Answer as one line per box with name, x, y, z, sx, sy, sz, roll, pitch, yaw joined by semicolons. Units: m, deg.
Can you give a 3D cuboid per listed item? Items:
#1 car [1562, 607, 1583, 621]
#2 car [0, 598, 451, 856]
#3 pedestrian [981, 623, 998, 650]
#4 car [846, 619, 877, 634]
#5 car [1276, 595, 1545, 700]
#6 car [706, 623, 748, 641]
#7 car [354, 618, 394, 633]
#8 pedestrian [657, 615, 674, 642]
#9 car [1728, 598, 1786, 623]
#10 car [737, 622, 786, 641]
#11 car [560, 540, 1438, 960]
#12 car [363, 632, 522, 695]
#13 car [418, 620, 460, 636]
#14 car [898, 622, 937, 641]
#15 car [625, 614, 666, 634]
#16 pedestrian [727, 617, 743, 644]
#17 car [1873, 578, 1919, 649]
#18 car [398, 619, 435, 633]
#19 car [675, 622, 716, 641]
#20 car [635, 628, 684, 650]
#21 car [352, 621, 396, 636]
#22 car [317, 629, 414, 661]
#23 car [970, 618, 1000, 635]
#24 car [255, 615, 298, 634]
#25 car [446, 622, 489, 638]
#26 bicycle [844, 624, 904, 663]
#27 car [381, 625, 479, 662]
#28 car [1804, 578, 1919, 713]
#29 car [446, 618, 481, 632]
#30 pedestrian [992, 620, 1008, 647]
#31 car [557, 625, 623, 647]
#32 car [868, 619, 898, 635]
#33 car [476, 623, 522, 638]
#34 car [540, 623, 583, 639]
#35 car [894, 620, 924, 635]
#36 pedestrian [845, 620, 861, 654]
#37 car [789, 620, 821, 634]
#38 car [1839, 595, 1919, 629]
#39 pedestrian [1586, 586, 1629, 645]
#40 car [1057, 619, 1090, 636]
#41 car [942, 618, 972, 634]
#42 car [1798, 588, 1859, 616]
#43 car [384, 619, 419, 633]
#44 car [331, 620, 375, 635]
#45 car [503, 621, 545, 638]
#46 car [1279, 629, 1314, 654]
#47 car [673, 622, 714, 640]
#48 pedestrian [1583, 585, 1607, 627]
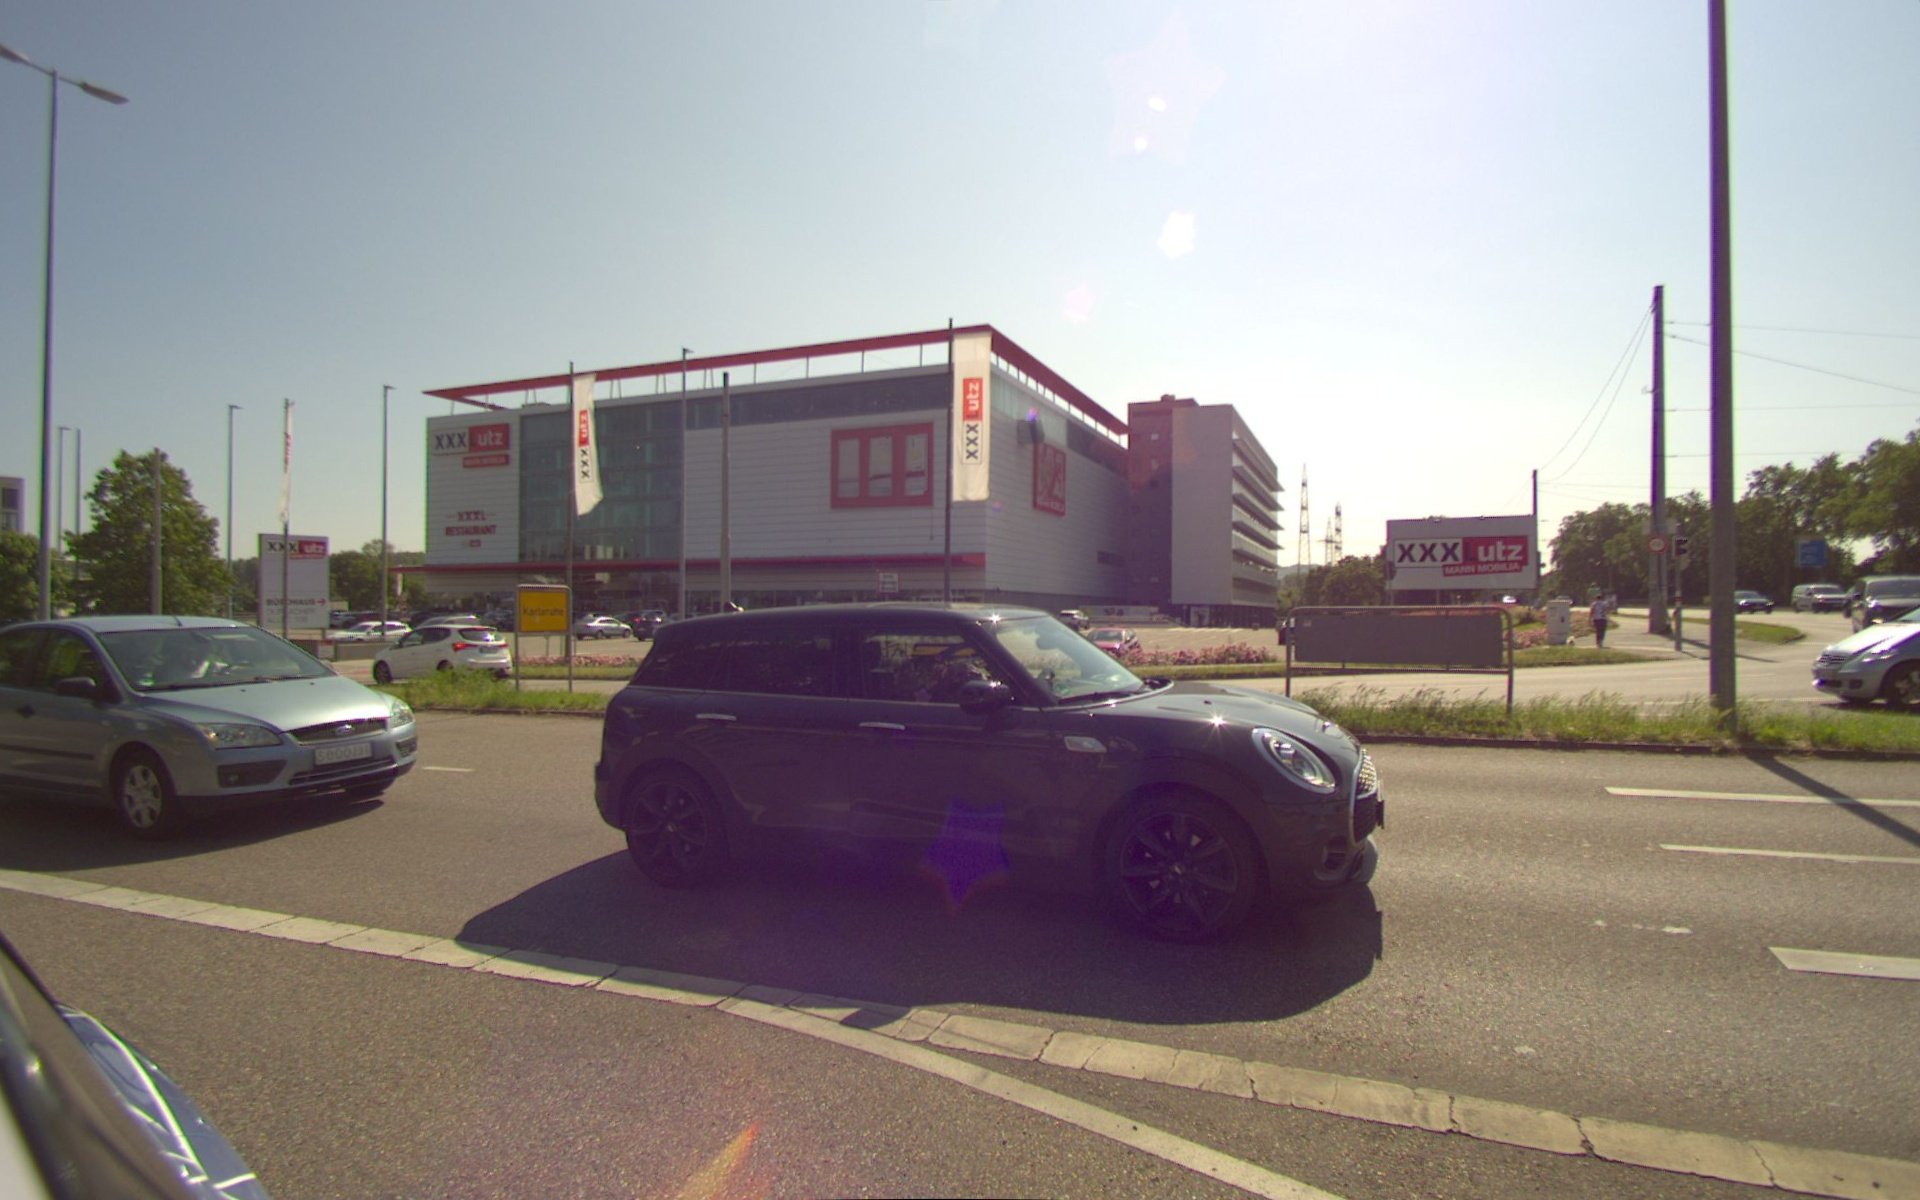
car;77.447;1.795;127.965;1.621;1.637;3.759;-1;-1;21
car;-6.159;0.844;7.809;4.145;1.585;1.699;-2;-1;22
pedestrian;2.209;2.752;76.770;0.970;2.029;0.941;-2;-2;24
car;-8.684;2.317;89.202;1.505;1.340;3.075;0;-1;22
car;4.743;0.503;10.817;2.478;1.012;1.111;-2;-2;25
car;-17.543;2.393;76.297;1.576;1.340;3.394;-1;-1;18
car;-57.223;2.476;98.900;1.505;1.395;3.075;0;-1;22
pedestrian;-22.380;2.159;76.883;1.020;2.029;0.853;-3;-4;37
car;51.439;0.686;65.398;1.896;1.584;3.808;0;-1;22
car;-14.868;2.350;76.027;1.505;1.340;4.283;0;-1;22
car;0.138;0.599;5.316;4.174;1.523;1.729;-2;-1;24
car;-13.870;1.644;27.104;4.066;1.558;1.783;-1;-1;27
car;-45.756;2.467;88.979;1.505;1.340;3.075;0;-1;22
car;-3.064;2.272;73.963;1.767;1.340;3.075;0;-1;22
car;-27.019;2.064;87.046;1.649;1.642;3.551;-1;-1;18
pedestrian;-15.640;2.097;70.259;0.747;1.872;0.849;-2;-3;23
car;28.103;0.348;29.623;1.817;1.940;3.942;-3;-1;44
car;-51.921;2.493;96.719;1.210;1.340;3.075;0;-1;22
car;-20.197;2.404;77.270;1.505;1.340;3.075;0;-1;22
car;-19.370;2.472;65.313;1.505;1.340;3.075;0;-1;22
car;-53.583;2.561;92.575;1.505;1.340;3.201;0;-1;22
car;-32.407;2.432;55.334;1.858;1.640;4.396;0;-1;21
car;2.107;2.187;84.425;1.505;1.340;3.075;0;-1;22
car;-65.573;2.323;97.117;1.681;1.771;3.075;0;-1;22
car;-42.903;2.563;88.190;1.692;1.340;3.075;0;-1;22
bicycle;-2.334;1.175;27.520;1.631;1.030;0.329;1;-2;20
car;-27.776;2.225;53.182;1.933;1.856;4.393;0;-1;22
car;13.209;0.511;12.496;3.892;1.637;1.619;-3;-2;24
car;-51.505;2.596;105.028;1.505;1.340;3.075;0;-1;22
pedestrian;3.060;2.564;77.976;0.970;2.029;0.941;-2;-3;24
car;-24.482;2.338;67.158;1.505;1.340;4.470;0;-1;22
car;-6.635;2.317;87.649;1.357;1.276;3.075;0;-1;22
car;-38.698;2.548;85.069;1.470;1.208;3.484;0;-1;22
car;-32.210;2.494;81.902;1.505;1.303;3.074;0;-1;22
car;-4.347;2.359;86.214;1.432;1.234;3.075;0;-1;22
pedestrian;-6.083;2.080;57.461;0.771;1.909;0.500;1;-3;-37
car;-13.790;2.391;90.268;1.505;1.234;3.075;0;-1;22
car;44.046;0.594;48.396;1.750;1.532;3.971;-2;-2;22
pedestrian;19.378;0.479;30.300;0.892;1.720;0.843;2;-3;-44
car;9.101;2.192;81.119;1.740;1.340;3.647;0;-1;22
car;-0.243;2.227;86.263;1.505;1.340;3.075;0;-1;22
car;53.939;0.150;62.943;1.621;1.637;3.759;-1;-1;21
car;-54.121;2.503;98.049;1.287;1.340;2.803;0;-1;22
car;-55.728;2.528;92.917;1.505;1.340;3.201;0;-1;22
car;-36.136;2.433;83.936;1.505;1.340;3.075;0;-1;22
car;19.649;2.414;59.069;1.717;1.340;3.831;0;-1;22
car;-20.293;2.355;77.160;1.505;1.340;3.075;0;-1;22
pedestrian;30.121;0.274;48.004;0.913;1.987;0.711;0;-1;28
